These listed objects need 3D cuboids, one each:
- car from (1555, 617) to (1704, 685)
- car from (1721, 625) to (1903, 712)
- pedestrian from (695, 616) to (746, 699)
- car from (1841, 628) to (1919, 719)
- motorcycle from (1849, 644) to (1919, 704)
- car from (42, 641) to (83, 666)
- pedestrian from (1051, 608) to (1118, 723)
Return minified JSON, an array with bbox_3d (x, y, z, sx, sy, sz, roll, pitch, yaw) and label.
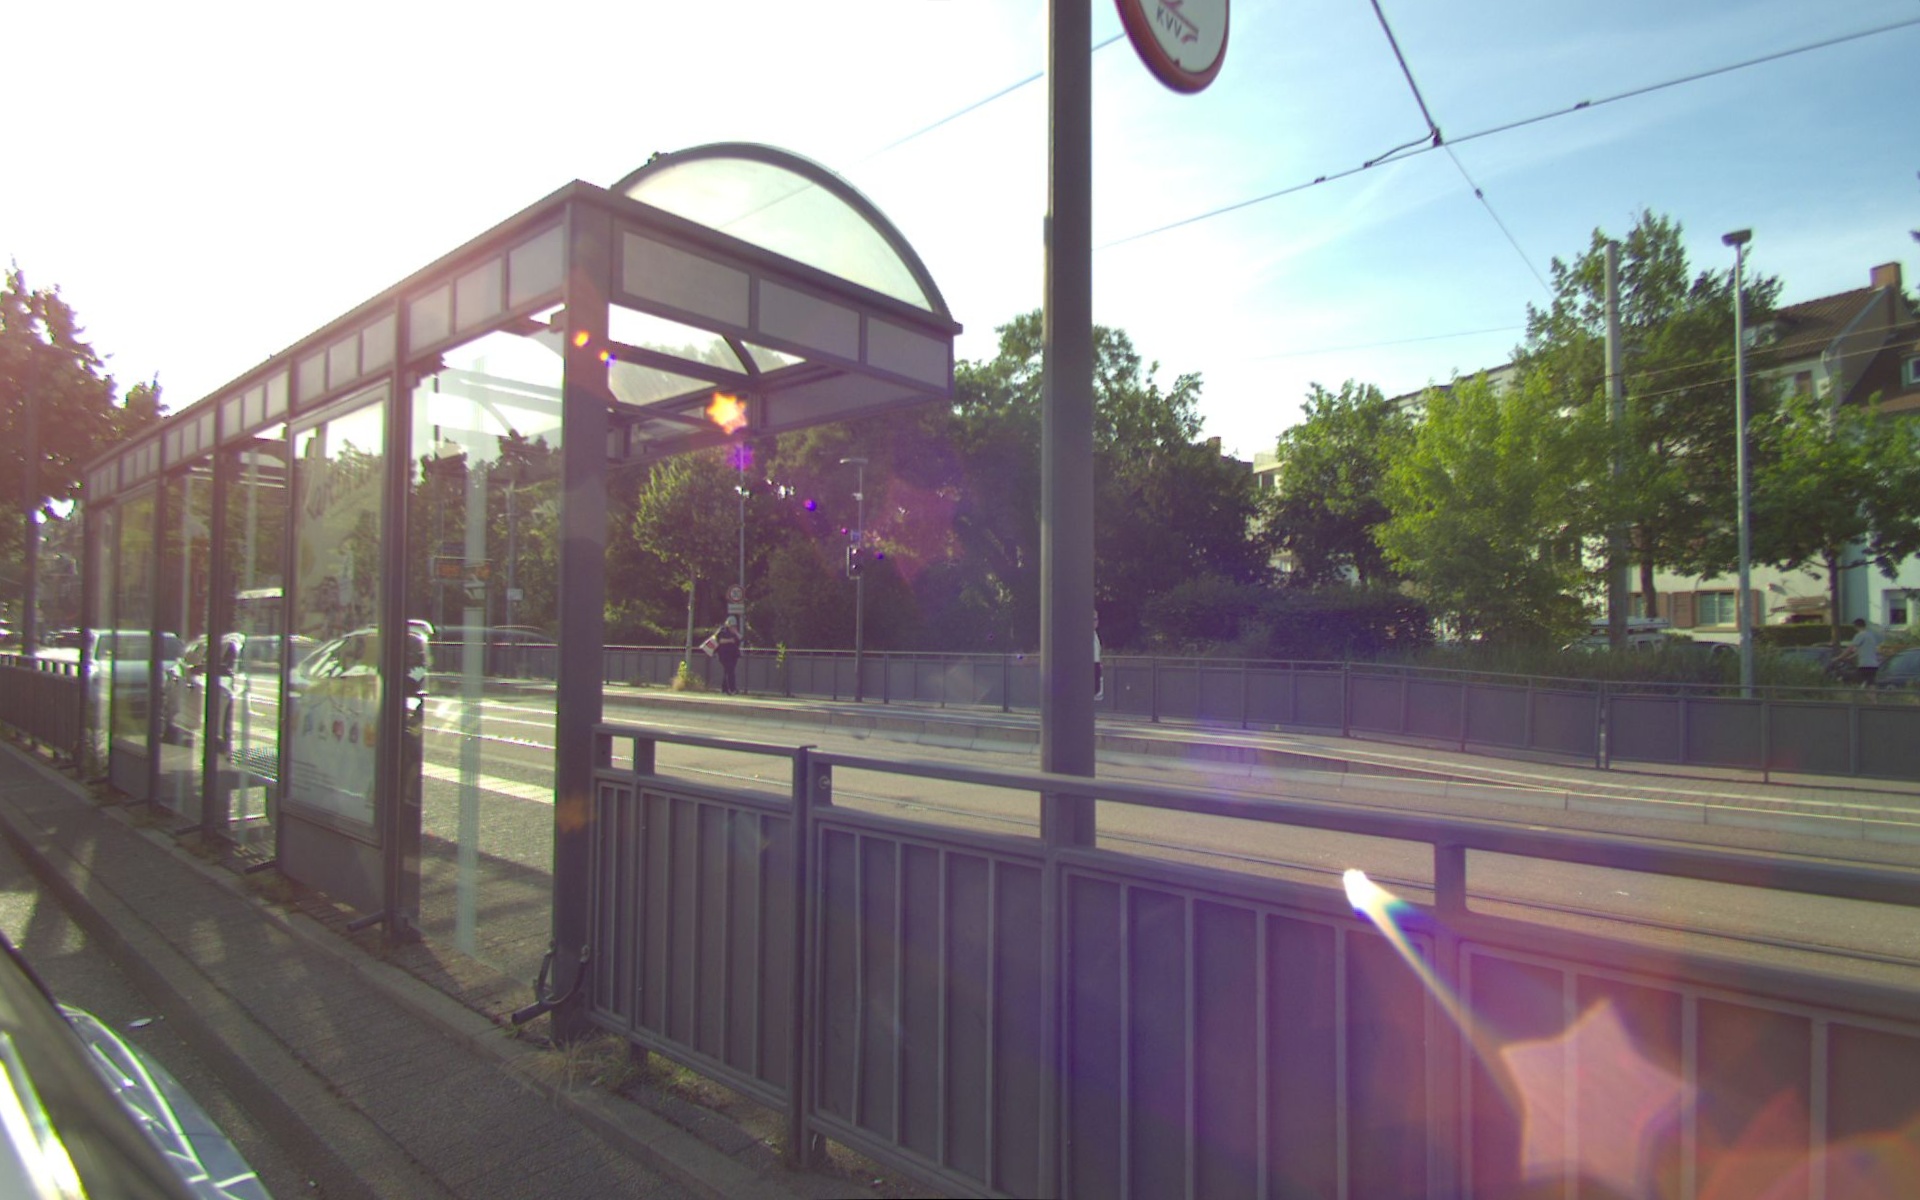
[{"bbox_3d":[18.466,1.388,27.885,3.931,1.767,1.860,2,-3,-30],"label":"car"},{"bbox_3d":[19.012,1.484,22.567,3.931,1.767,1.860,2,-3,-30],"label":"car"},{"bbox_3d":[-4.900,1.168,20.734,0.689,1.640,0.727,-2,-3,41],"label":"pedestrian"},{"bbox_3d":[20.223,1.489,20.915,3.931,1.767,1.860,2,-3,-30],"label":"car"},{"bbox_3d":[16.880,1.339,18.468,0.919,1.059,0.495,-1,-3,35],"label":"motorcycle"},{"bbox_3d":[-76.012,4.494,85.699,3.997,2.029,1.973,-2,-3,41],"label":"car"},{"bbox_3d":[1.851,0.953,14.999,0.727,1.640,0.699,-2,-3,41],"label":"pedestrian"}]
